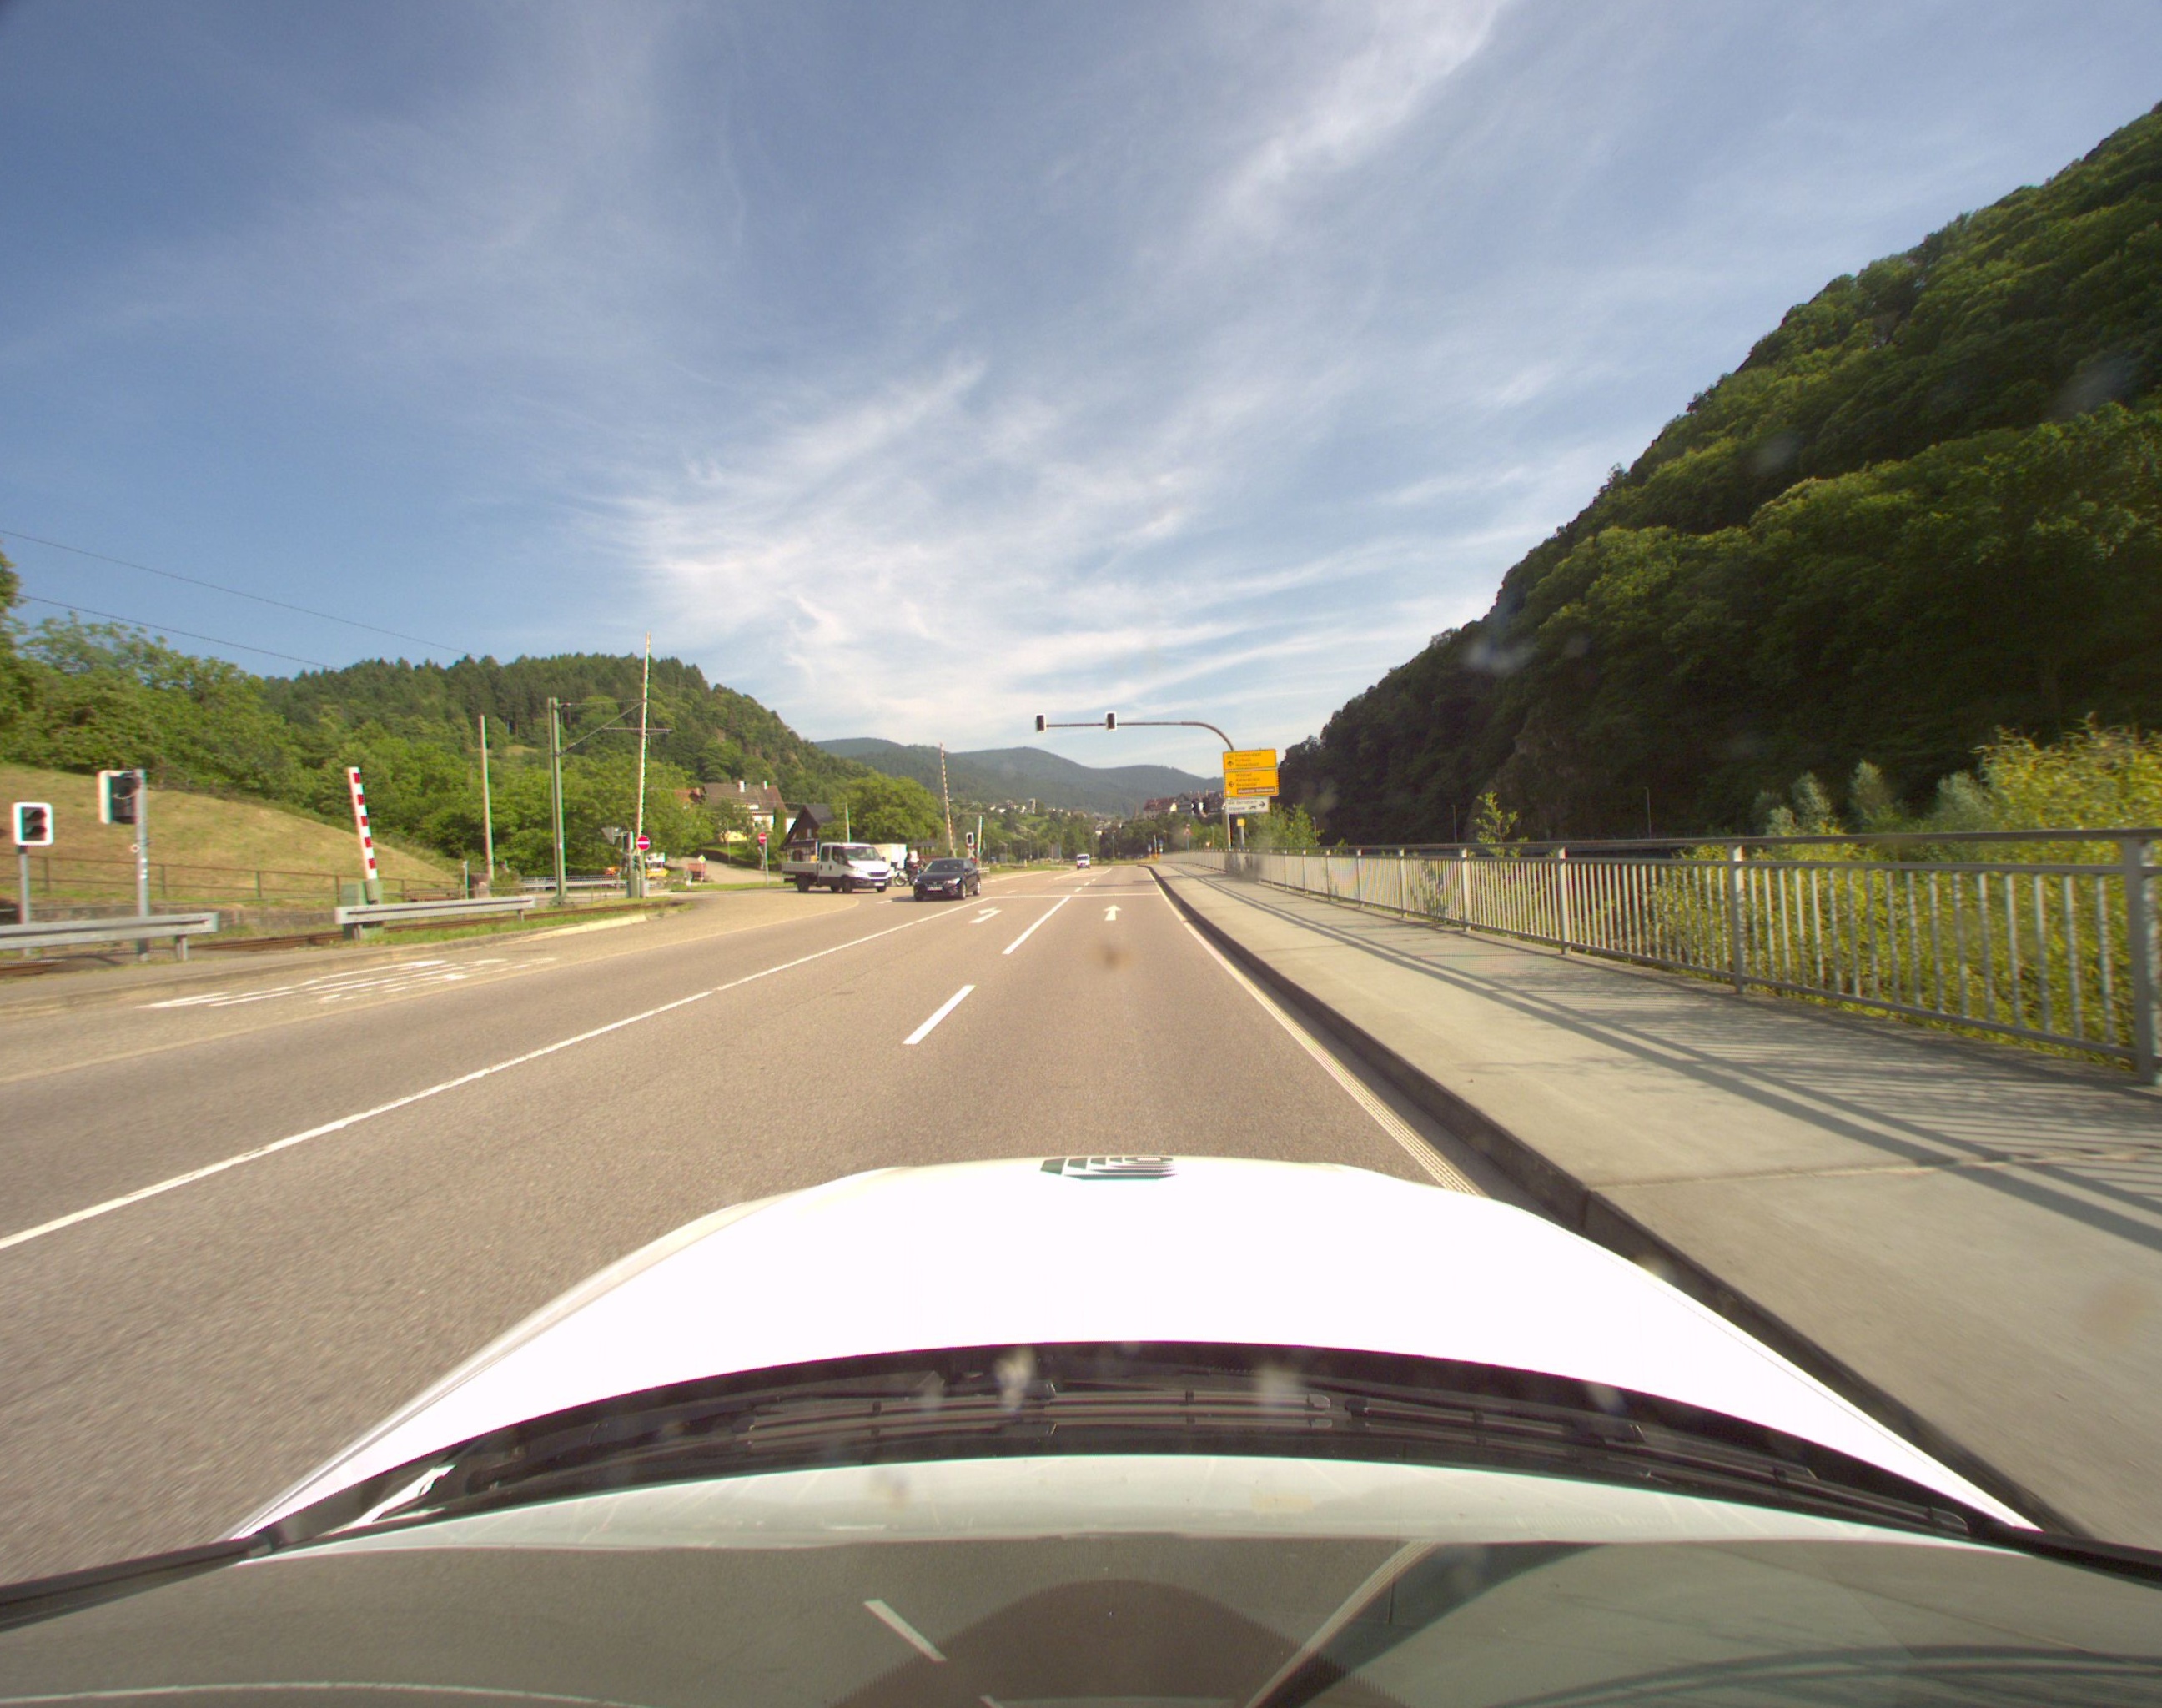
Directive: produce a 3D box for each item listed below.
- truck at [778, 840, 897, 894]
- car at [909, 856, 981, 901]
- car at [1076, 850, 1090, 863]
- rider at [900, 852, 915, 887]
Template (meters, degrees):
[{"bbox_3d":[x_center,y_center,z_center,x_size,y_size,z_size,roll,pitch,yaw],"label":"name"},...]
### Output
[{"bbox_3d":[-10.974,0.602,36.483,5.925,2.266,2.013,-2,-1,38],"label":"truck"},{"bbox_3d":[-4.776,0.835,29.064,1.766,1.416,3.787,-1,0,2],"label":"car"},{"bbox_3d":[0.288,0.397,125.695,1.986,2.013,4.559,-1,0,2],"label":"car"},{"bbox_3d":[-9.226,0.793,43.318,0.753,1.819,0.740,-1,1,-13],"label":"rider"}]
